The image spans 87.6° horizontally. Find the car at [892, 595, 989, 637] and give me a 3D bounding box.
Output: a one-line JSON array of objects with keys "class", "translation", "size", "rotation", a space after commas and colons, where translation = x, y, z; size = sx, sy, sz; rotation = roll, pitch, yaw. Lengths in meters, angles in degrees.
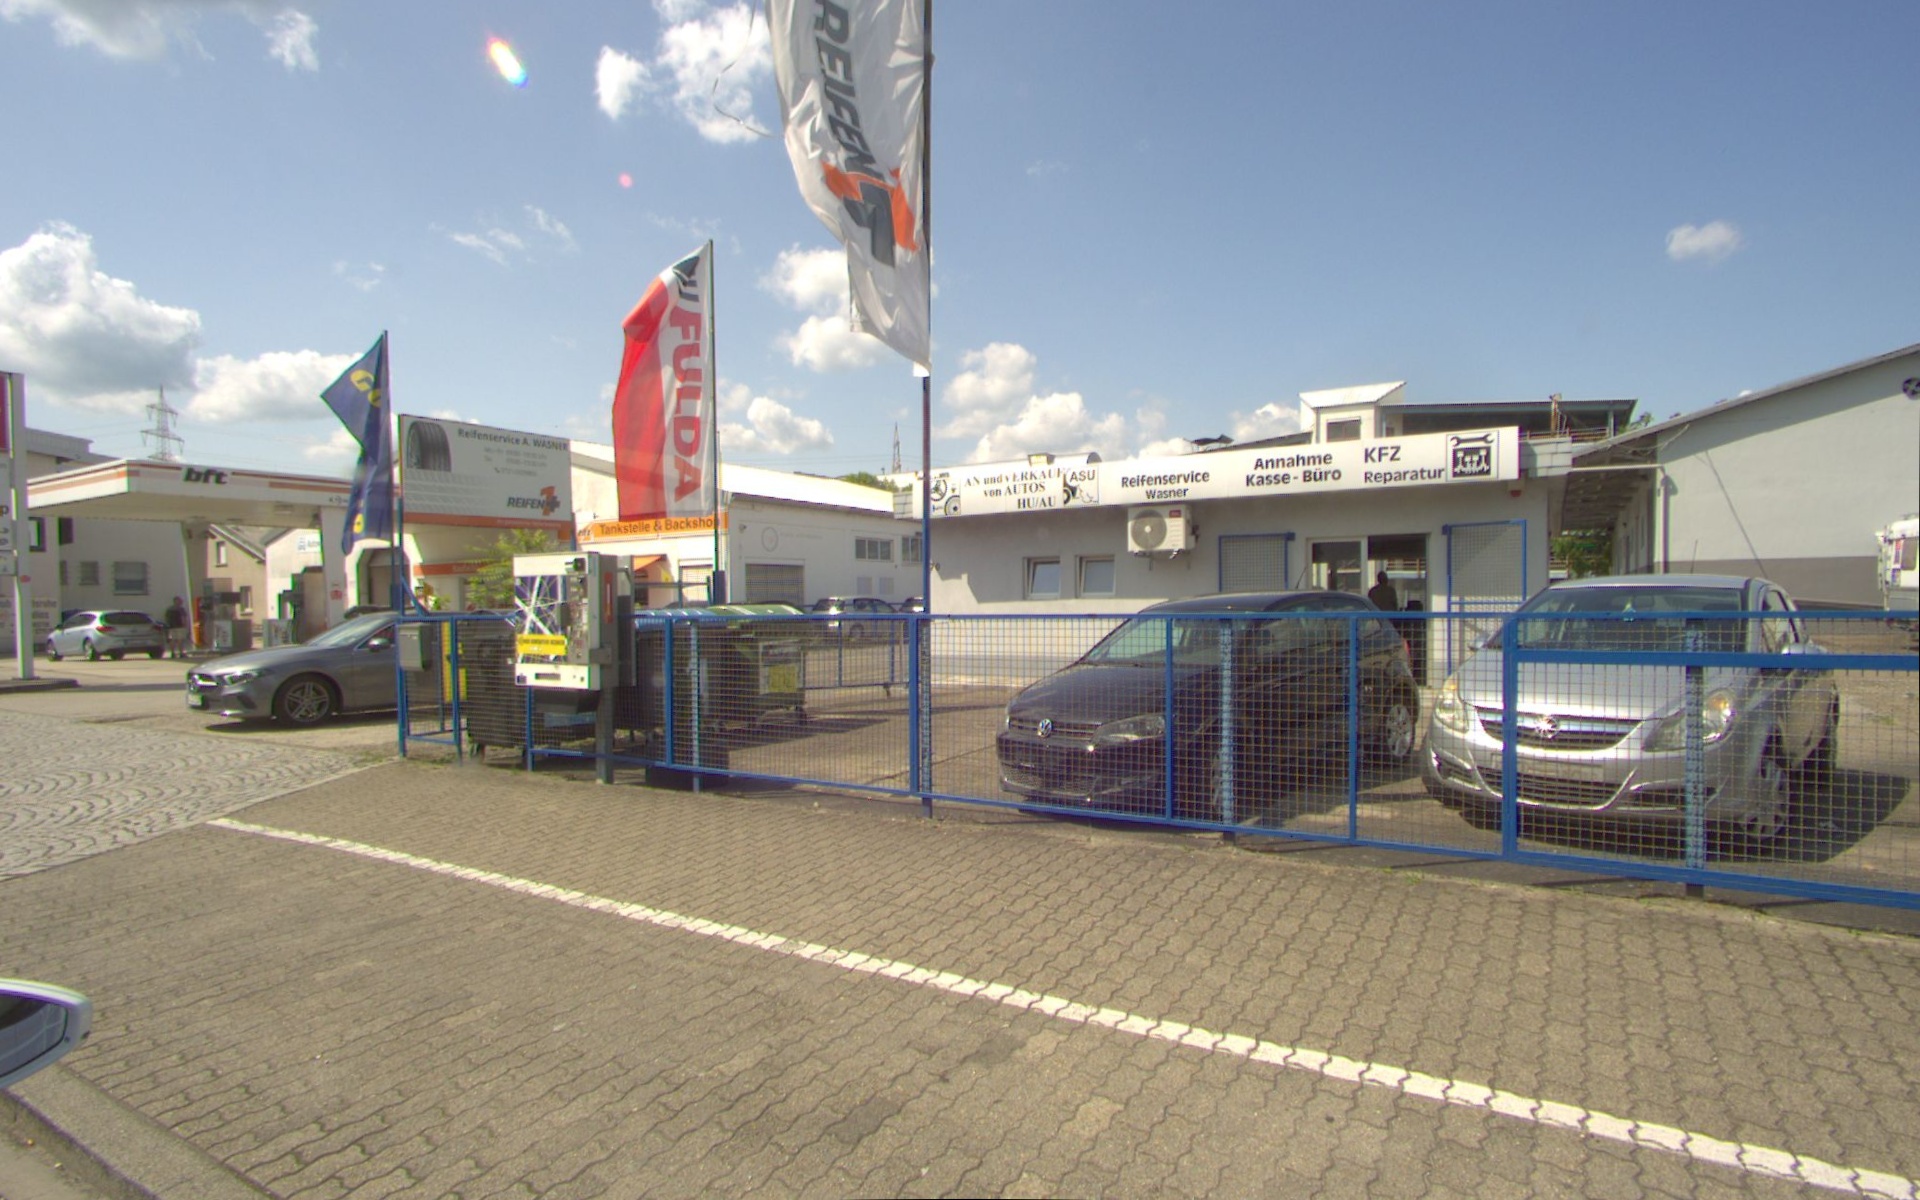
[{"class": "car", "translation": [-0.635, 0.532, 35.729], "size": [1.564, 1.385, 3.860], "rotation": [0, 0, 33]}]

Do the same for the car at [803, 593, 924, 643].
[{"class": "car", "translation": [-3.011, 0.525, 32.043], "size": [1.564, 1.482, 4.187], "rotation": [0, 0, 33]}]

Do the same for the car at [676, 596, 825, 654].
[{"class": "car", "translation": [-5.714, 0.641, 27.812], "size": [1.564, 1.482, 4.187], "rotation": [0, 0, 33]}]

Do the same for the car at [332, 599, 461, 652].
[{"class": "car", "translation": [-17.305, 0.746, 30.716], "size": [3.777, 1.523, 1.803], "rotation": [0, 0, 31]}]

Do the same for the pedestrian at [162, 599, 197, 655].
[{"class": "pedestrian", "translation": [-23.772, 0.799, 30.508], "size": [0.698, 1.679, 0.546], "rotation": [-1, 1, -22]}]

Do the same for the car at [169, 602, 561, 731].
[{"class": "car", "translation": [-7.821, 0.764, 13.575], "size": [1.652, 1.434, 4.259], "rotation": [0, 0, 36]}]

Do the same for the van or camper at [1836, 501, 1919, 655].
[{"class": "van or camper", "translation": [21.019, -0.452, 19.522], "size": [5.571, 3.005, 2.264], "rotation": [0, 1, 31]}]

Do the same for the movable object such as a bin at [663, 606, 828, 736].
[{"class": "movable object such as a bin", "translation": [-2.529, 0.784, 11.895], "size": [1.318, 1.415, 1.400], "rotation": [0, 1, 31]}]

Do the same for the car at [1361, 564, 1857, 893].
[{"class": "car", "translation": [4.277, 0.564, 6.373], "size": [3.729, 1.472, 1.757], "rotation": [-1, 0, -42]}]

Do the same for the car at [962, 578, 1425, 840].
[{"class": "car", "translation": [1.897, 0.604, 7.482], "size": [3.655, 1.472, 1.625], "rotation": [-1, 1, -43]}]

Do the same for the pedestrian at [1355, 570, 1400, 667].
[{"class": "pedestrian", "translation": [7.356, 0.320, 17.639], "size": [0.654, 1.671, 0.563], "rotation": [0, 1, 34]}]

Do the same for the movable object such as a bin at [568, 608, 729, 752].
[{"class": "movable object such as a bin", "translation": [-3.322, 0.804, 10.730], "size": [1.225, 1.415, 1.106], "rotation": [0, 1, 31]}]

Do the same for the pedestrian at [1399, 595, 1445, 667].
[{"class": "pedestrian", "translation": [8.051, 0.534, 17.432], "size": [0.654, 1.225, 0.563], "rotation": [0, 1, 34]}]

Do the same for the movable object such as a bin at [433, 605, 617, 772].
[{"class": "movable object such as a bin", "translation": [-4.155, 0.788, 9.600], "size": [1.225, 1.455, 1.106], "rotation": [0, 1, 31]}]

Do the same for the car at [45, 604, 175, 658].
[{"class": "car", "translation": [-25.733, 0.899, 30.298], "size": [3.776, 1.523, 1.803], "rotation": [0, 0, 30]}]

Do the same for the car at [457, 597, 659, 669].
[{"class": "car", "translation": [-9.161, 0.688, 23.156], "size": [1.564, 1.482, 4.187], "rotation": [0, 0, 33]}]
